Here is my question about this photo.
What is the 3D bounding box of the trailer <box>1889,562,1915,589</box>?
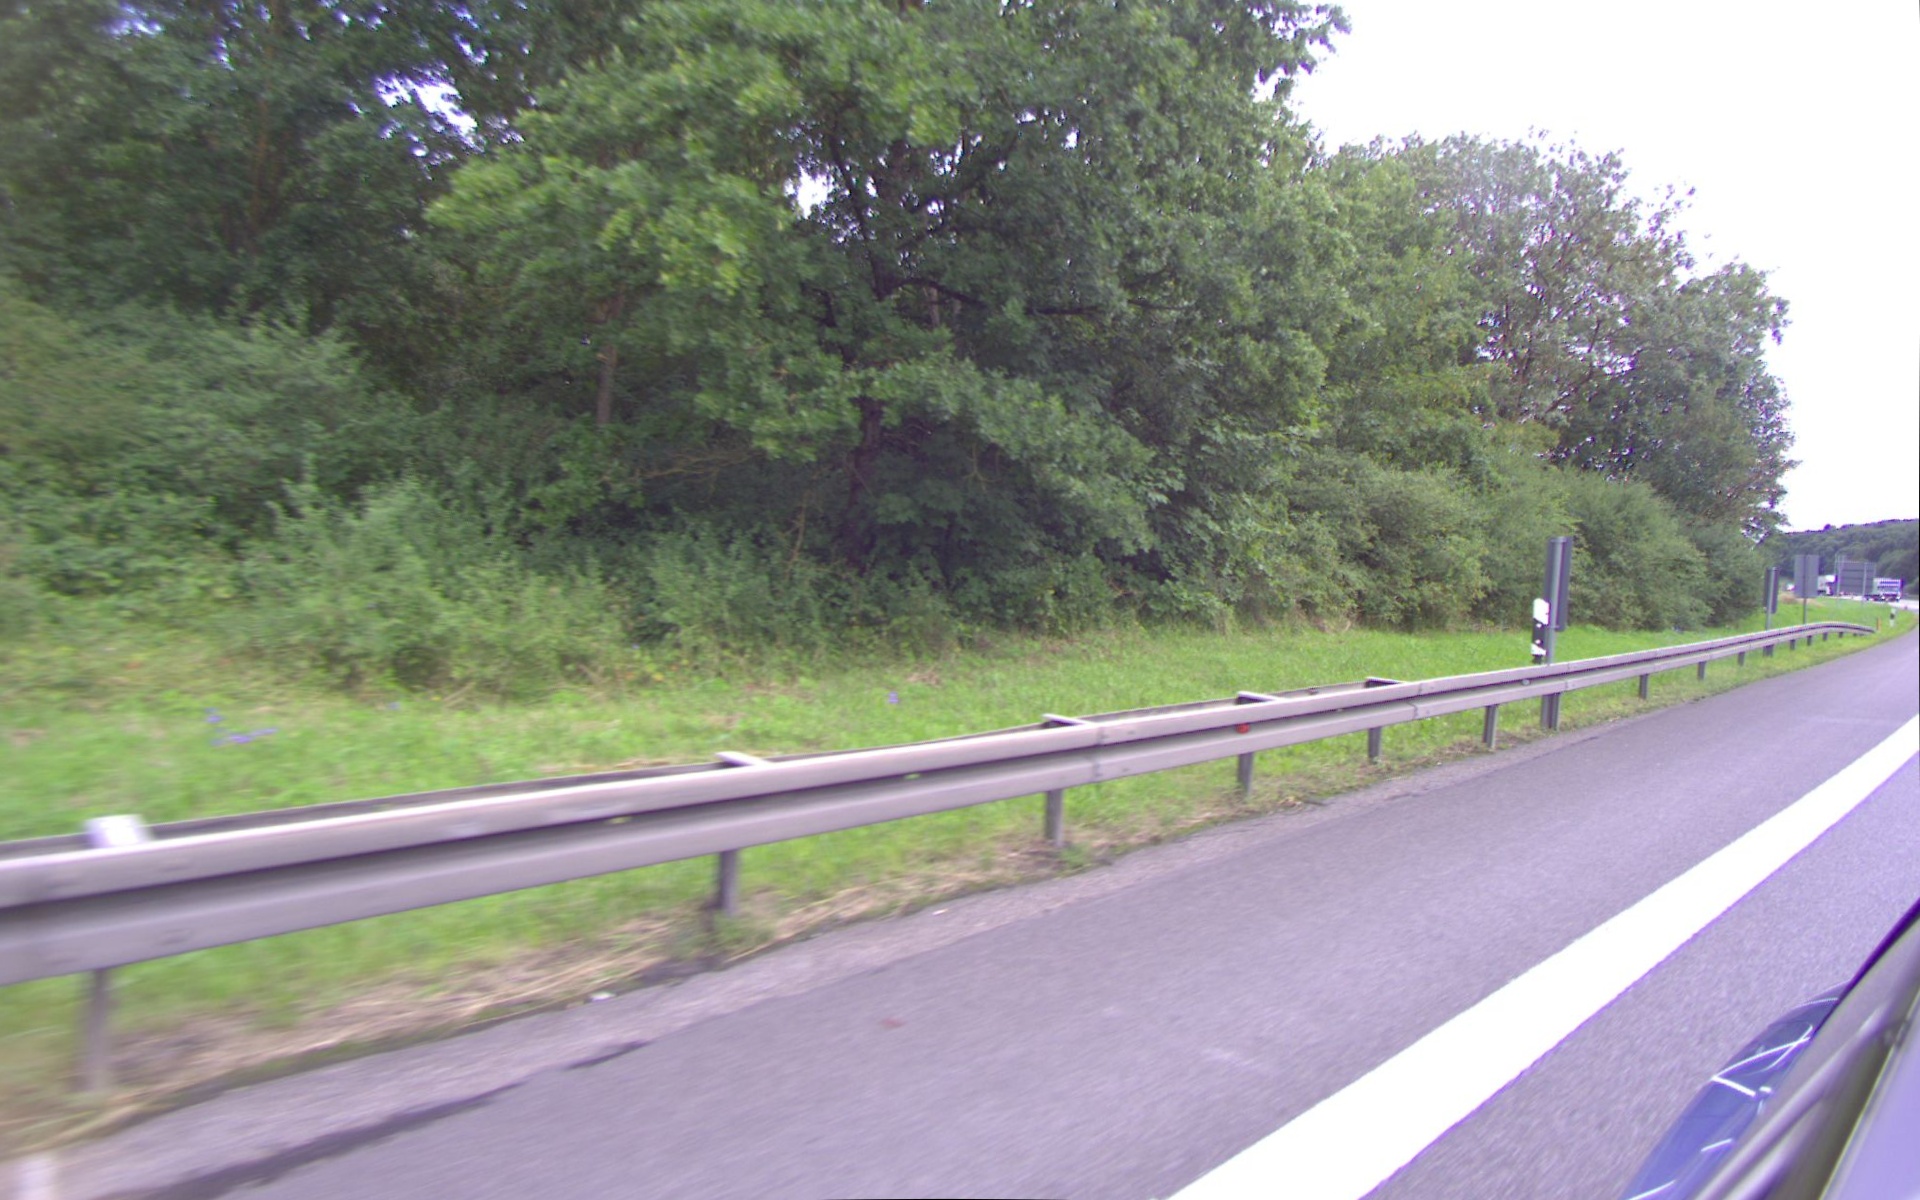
[{"bbox_3d":[148.165,-3.854,159.108,2.780,4.003,11.118,2,2,44],"label":"trailer"}]

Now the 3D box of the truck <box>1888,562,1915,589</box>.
[{"bbox_3d":[143.961,-3.758,154.751,2.790,4.020,5.845,2,2,44],"label":"truck"}]
